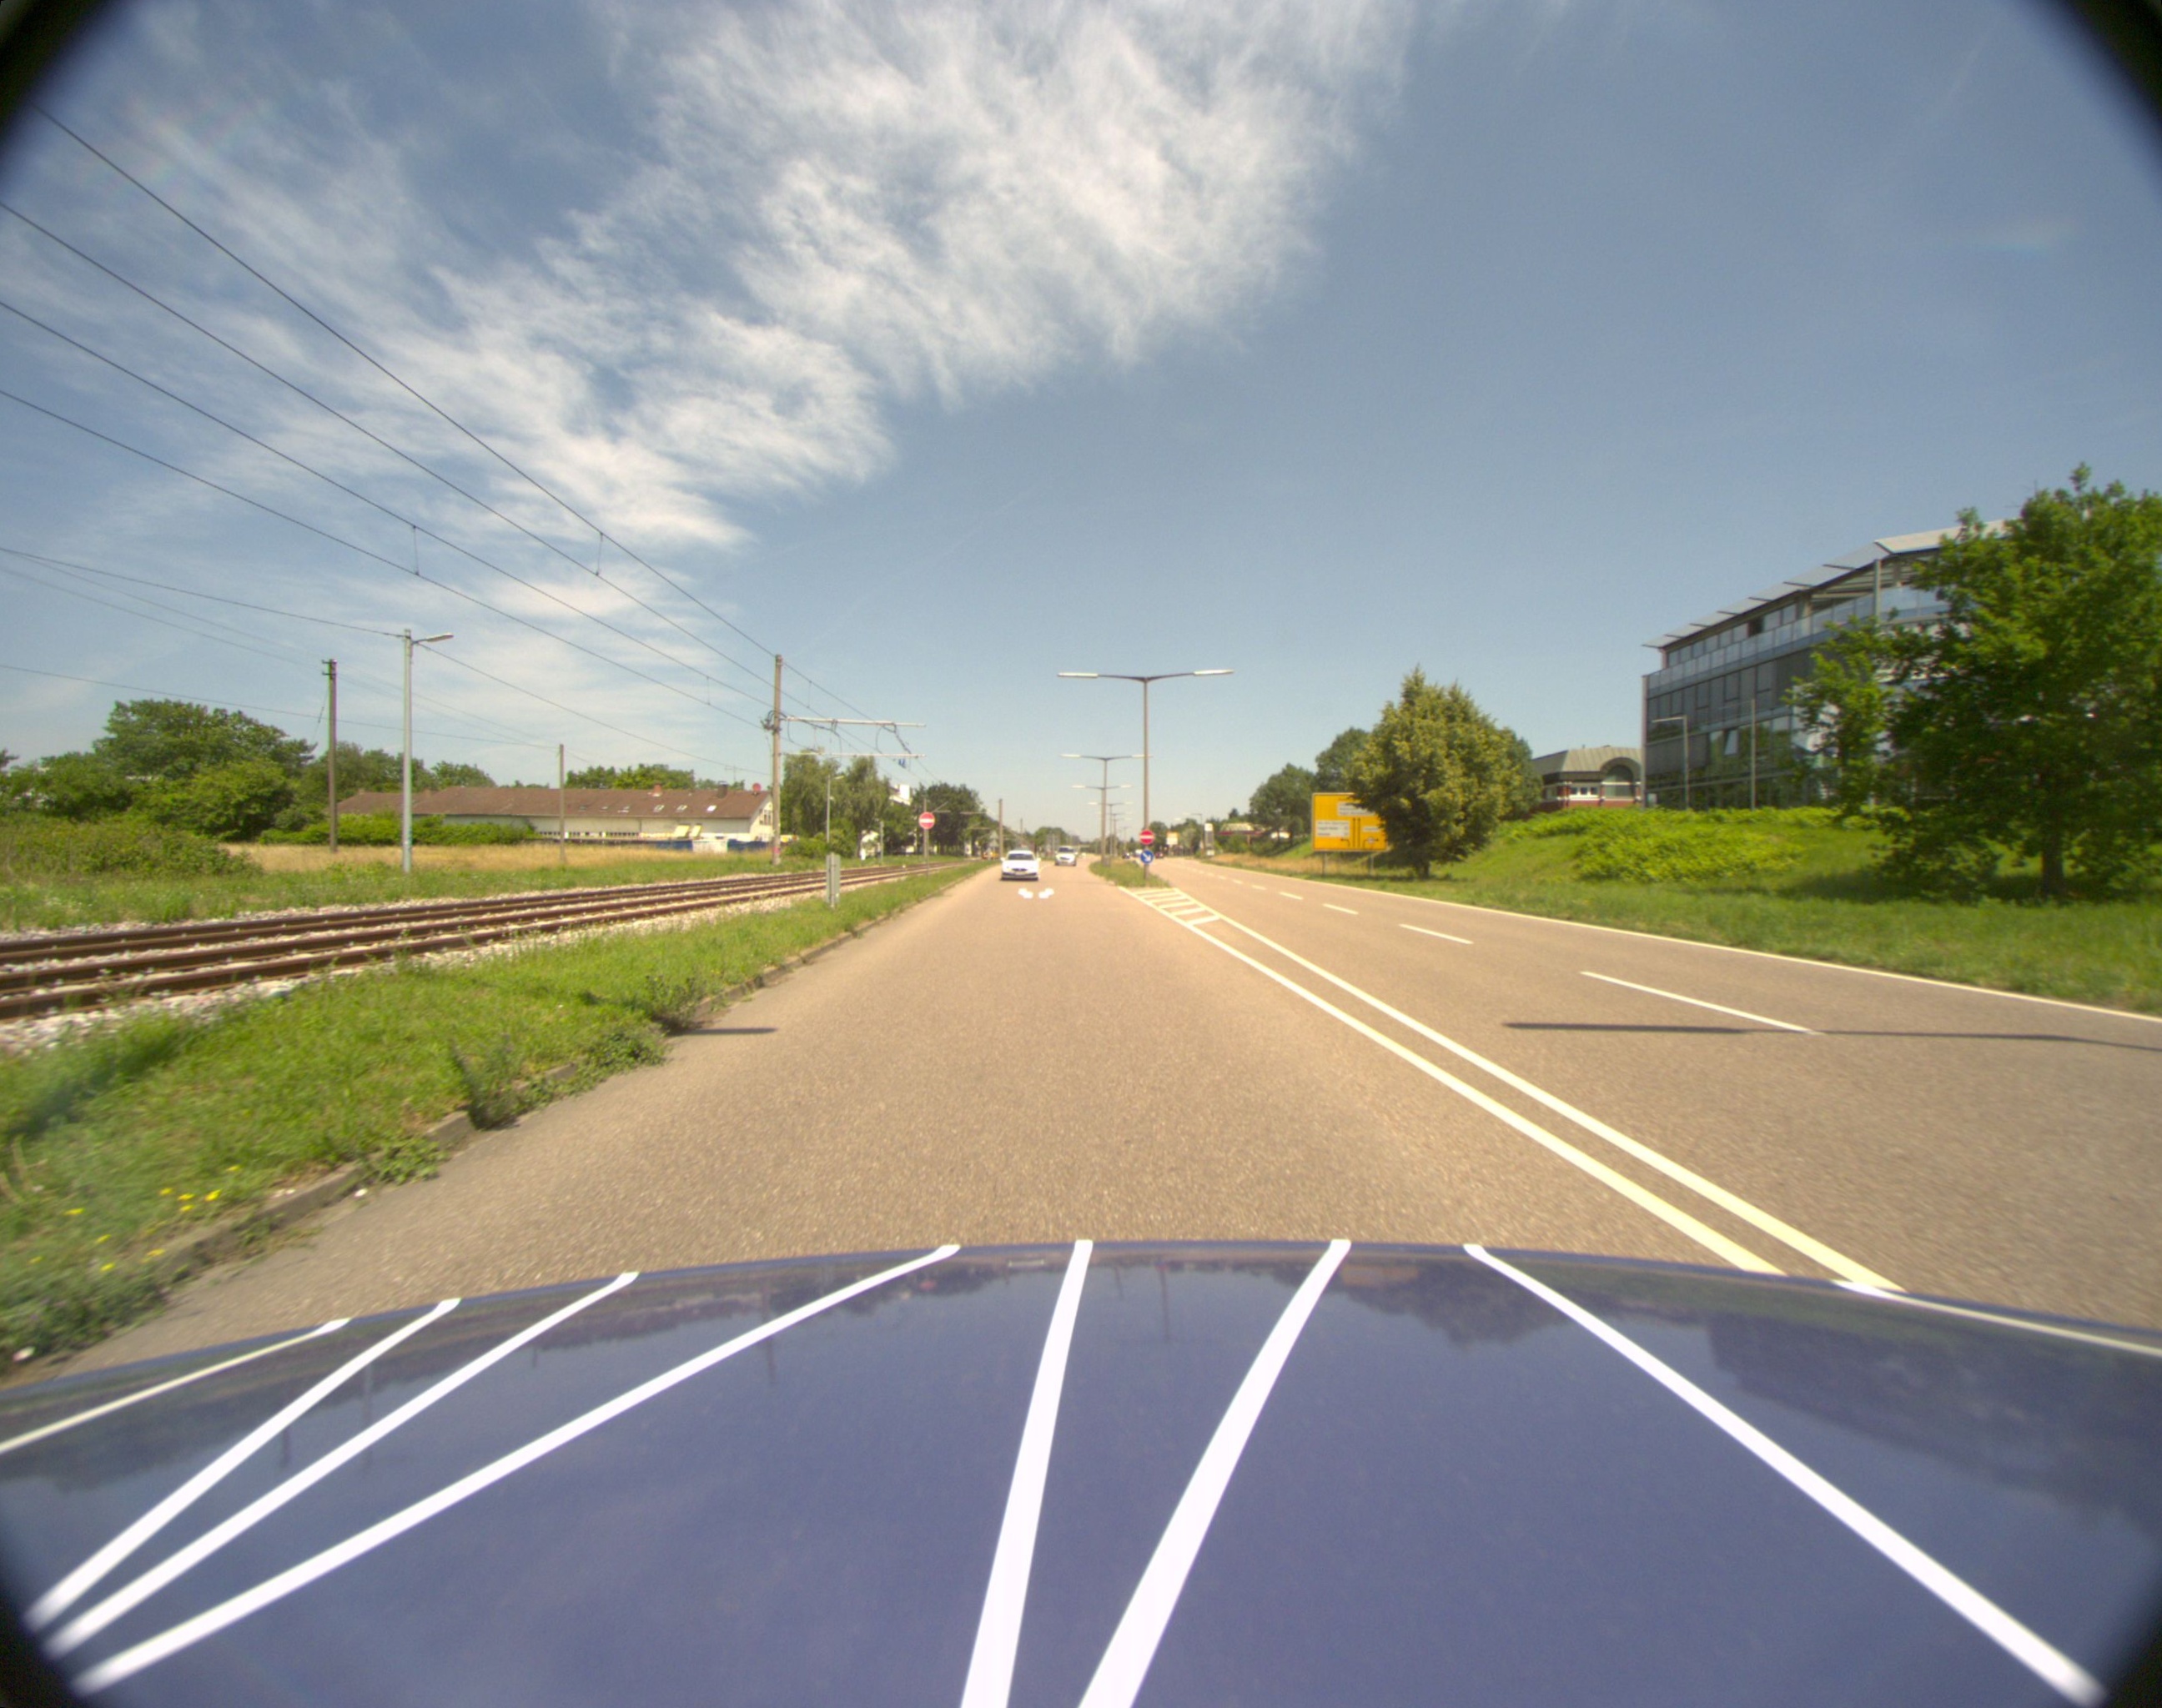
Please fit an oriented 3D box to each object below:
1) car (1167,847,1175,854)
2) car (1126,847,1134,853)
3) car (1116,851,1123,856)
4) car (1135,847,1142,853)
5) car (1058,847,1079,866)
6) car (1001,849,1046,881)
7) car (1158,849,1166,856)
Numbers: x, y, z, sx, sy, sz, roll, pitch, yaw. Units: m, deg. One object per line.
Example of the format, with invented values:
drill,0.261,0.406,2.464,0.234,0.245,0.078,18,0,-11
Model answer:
car,22.543,-0.876,190.705,1.653,1.577,3.819,0,2,1
car,11.551,-0.862,180.164,1.618,1.387,3.599,0,2,-1
car,11.877,-0.217,234.388,1.618,1.387,3.599,0,2,-1
car,16.495,-1.161,217.603,1.618,1.387,3.599,0,2,-1
car,-1.152,0.253,71.801,1.883,1.687,3.787,0,2,0
car,-2.807,0.517,38.015,1.771,1.434,4.129,0,1,2
car,18.223,-0.330,170.344,1.621,1.346,3.515,1,2,5
